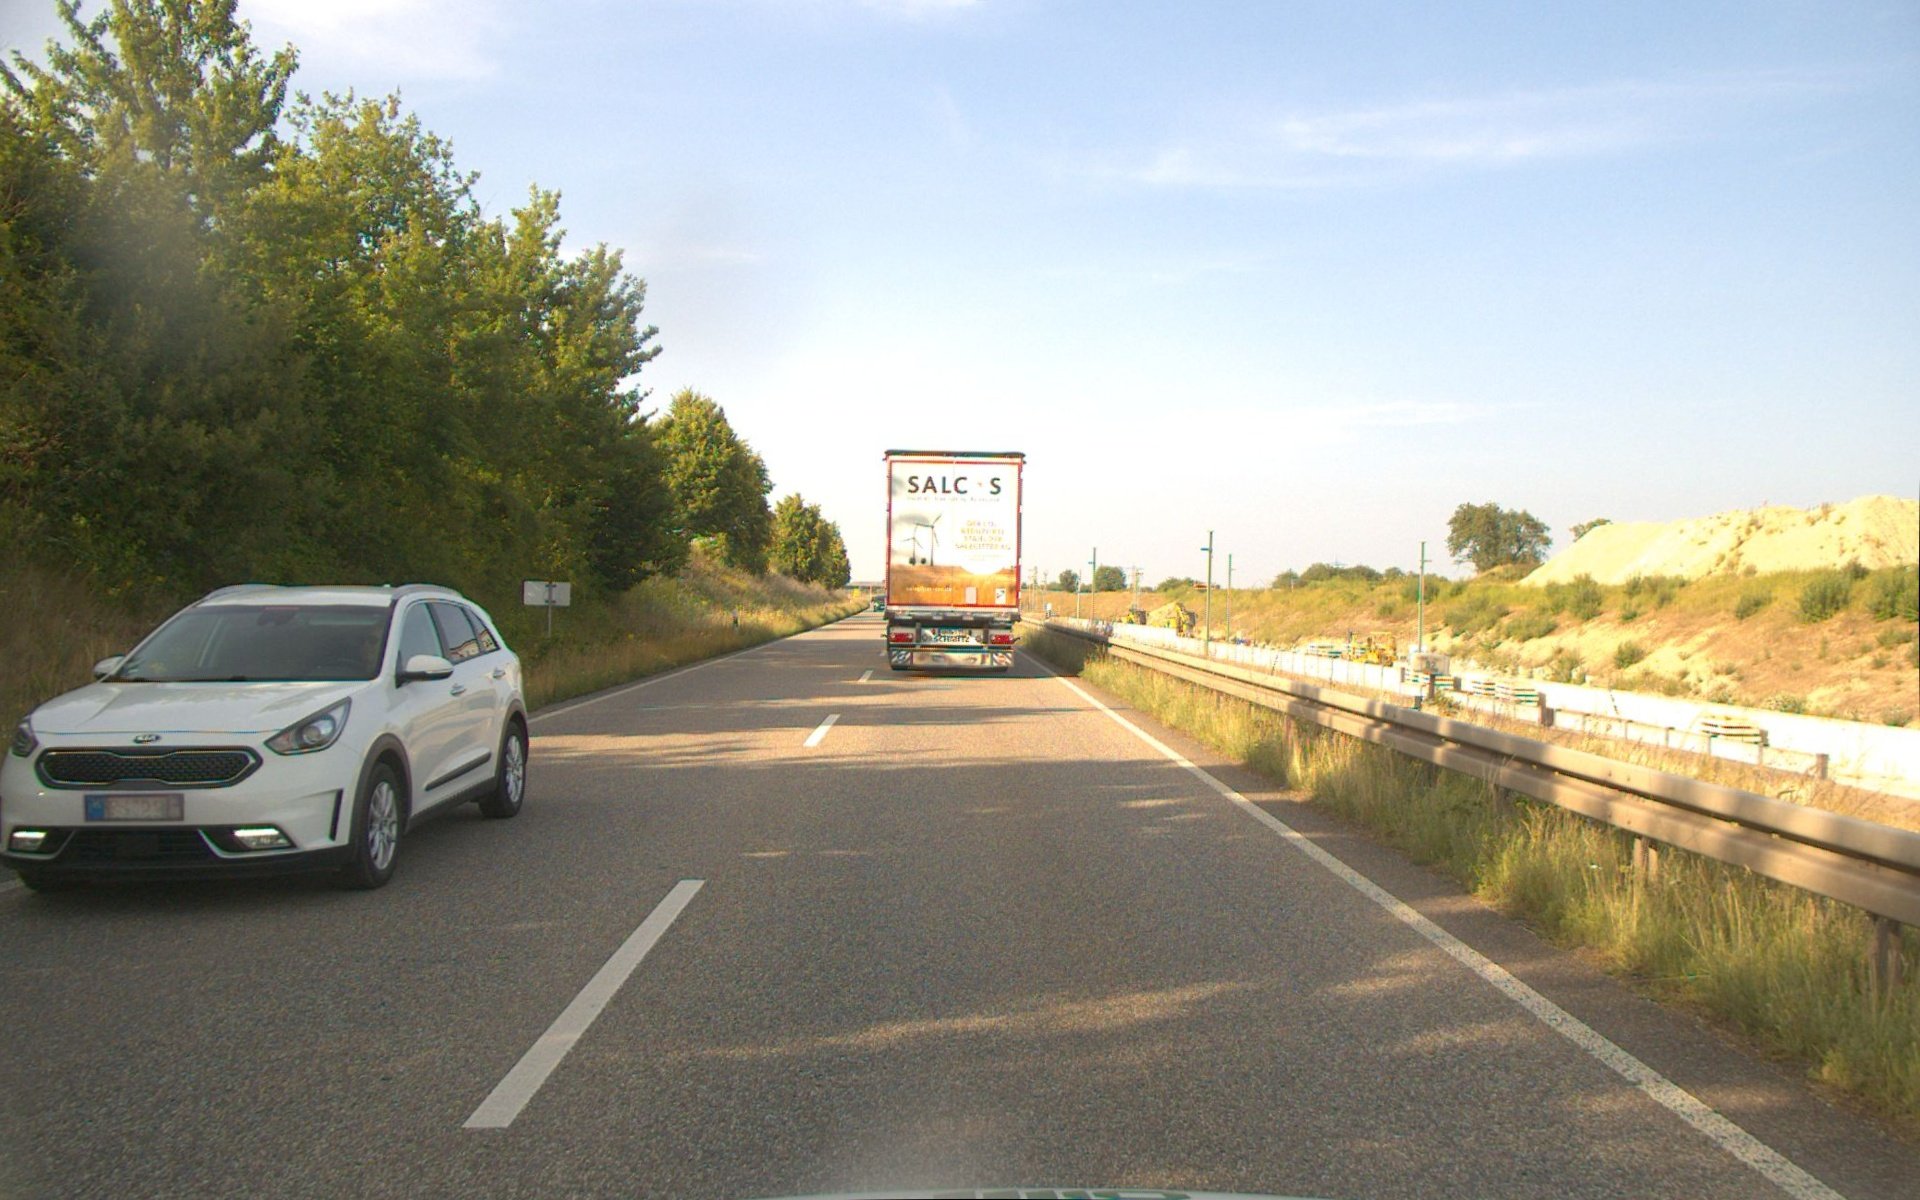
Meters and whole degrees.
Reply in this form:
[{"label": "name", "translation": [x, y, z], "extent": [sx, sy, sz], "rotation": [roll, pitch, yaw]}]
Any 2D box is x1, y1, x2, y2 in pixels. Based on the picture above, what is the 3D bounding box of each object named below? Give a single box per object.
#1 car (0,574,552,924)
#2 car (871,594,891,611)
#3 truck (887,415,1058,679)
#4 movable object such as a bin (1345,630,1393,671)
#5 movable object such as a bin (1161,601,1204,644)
[{"label": "car", "translation": [-3.778, 0.682, 9.839], "extent": [1.709, 1.591, 4.364], "rotation": [-1, 0, -2]}, {"label": "car", "translation": [-7.268, 0.201, 151.871], "extent": [1.708, 1.574, 4.311], "rotation": [0, 0, -1]}, {"label": "truck", "translation": [0.133, -0.971, 34.292], "extent": [3.089, 4.770, 8.439], "rotation": [0, 0, -1]}, {"label": "movable object such as a bin", "translation": [27.723, 3.407, 112.093], "extent": [2.845, 2.708, 2.019], "rotation": [1, 0, 24]}, {"label": "movable object such as a bin", "translation": [21.412, 2.115, 159.452], "extent": [2.740, 3.954, 7.534], "rotation": [1, 0, -2]}]
